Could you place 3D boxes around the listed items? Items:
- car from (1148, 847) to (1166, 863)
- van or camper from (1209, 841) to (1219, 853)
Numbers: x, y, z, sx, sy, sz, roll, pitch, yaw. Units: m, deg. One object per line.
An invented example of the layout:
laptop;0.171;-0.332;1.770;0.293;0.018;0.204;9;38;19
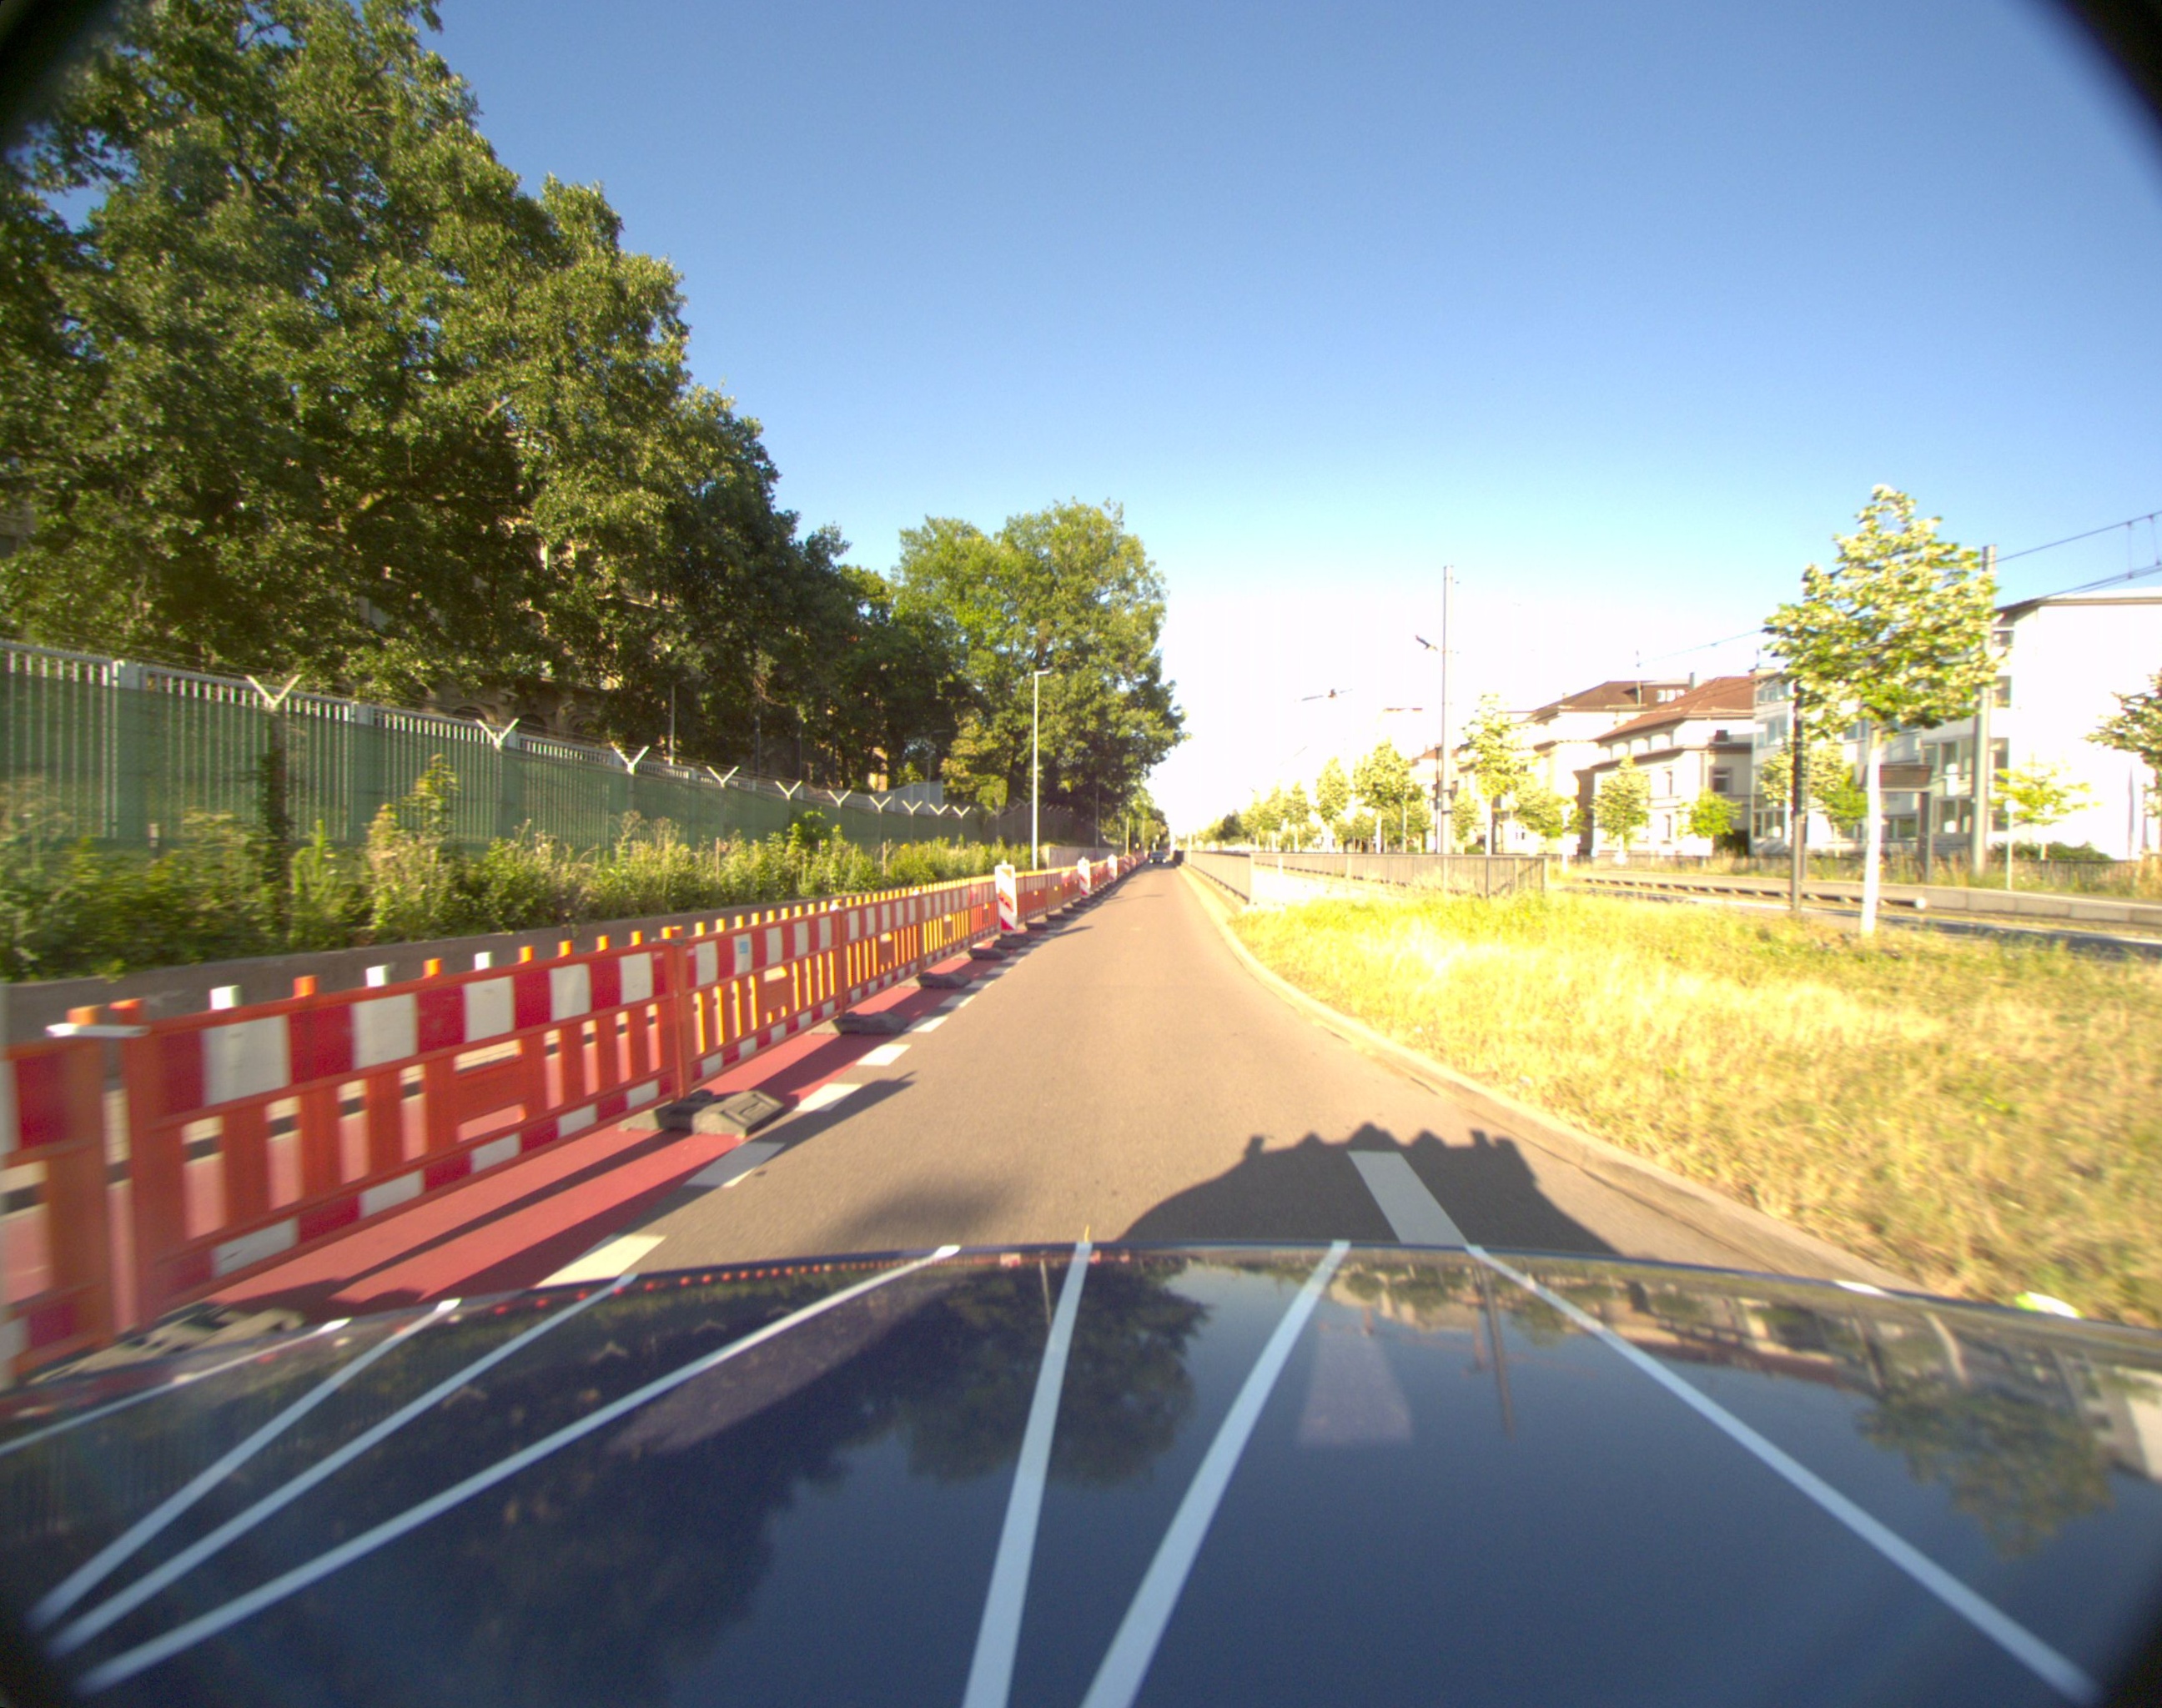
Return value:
car;9.062;0.080;90.232;2.079;1.827;4.002;0;1;7
van or camper;36.123;-1.983;206.513;2.509;3.150;7.480;0;1;9
